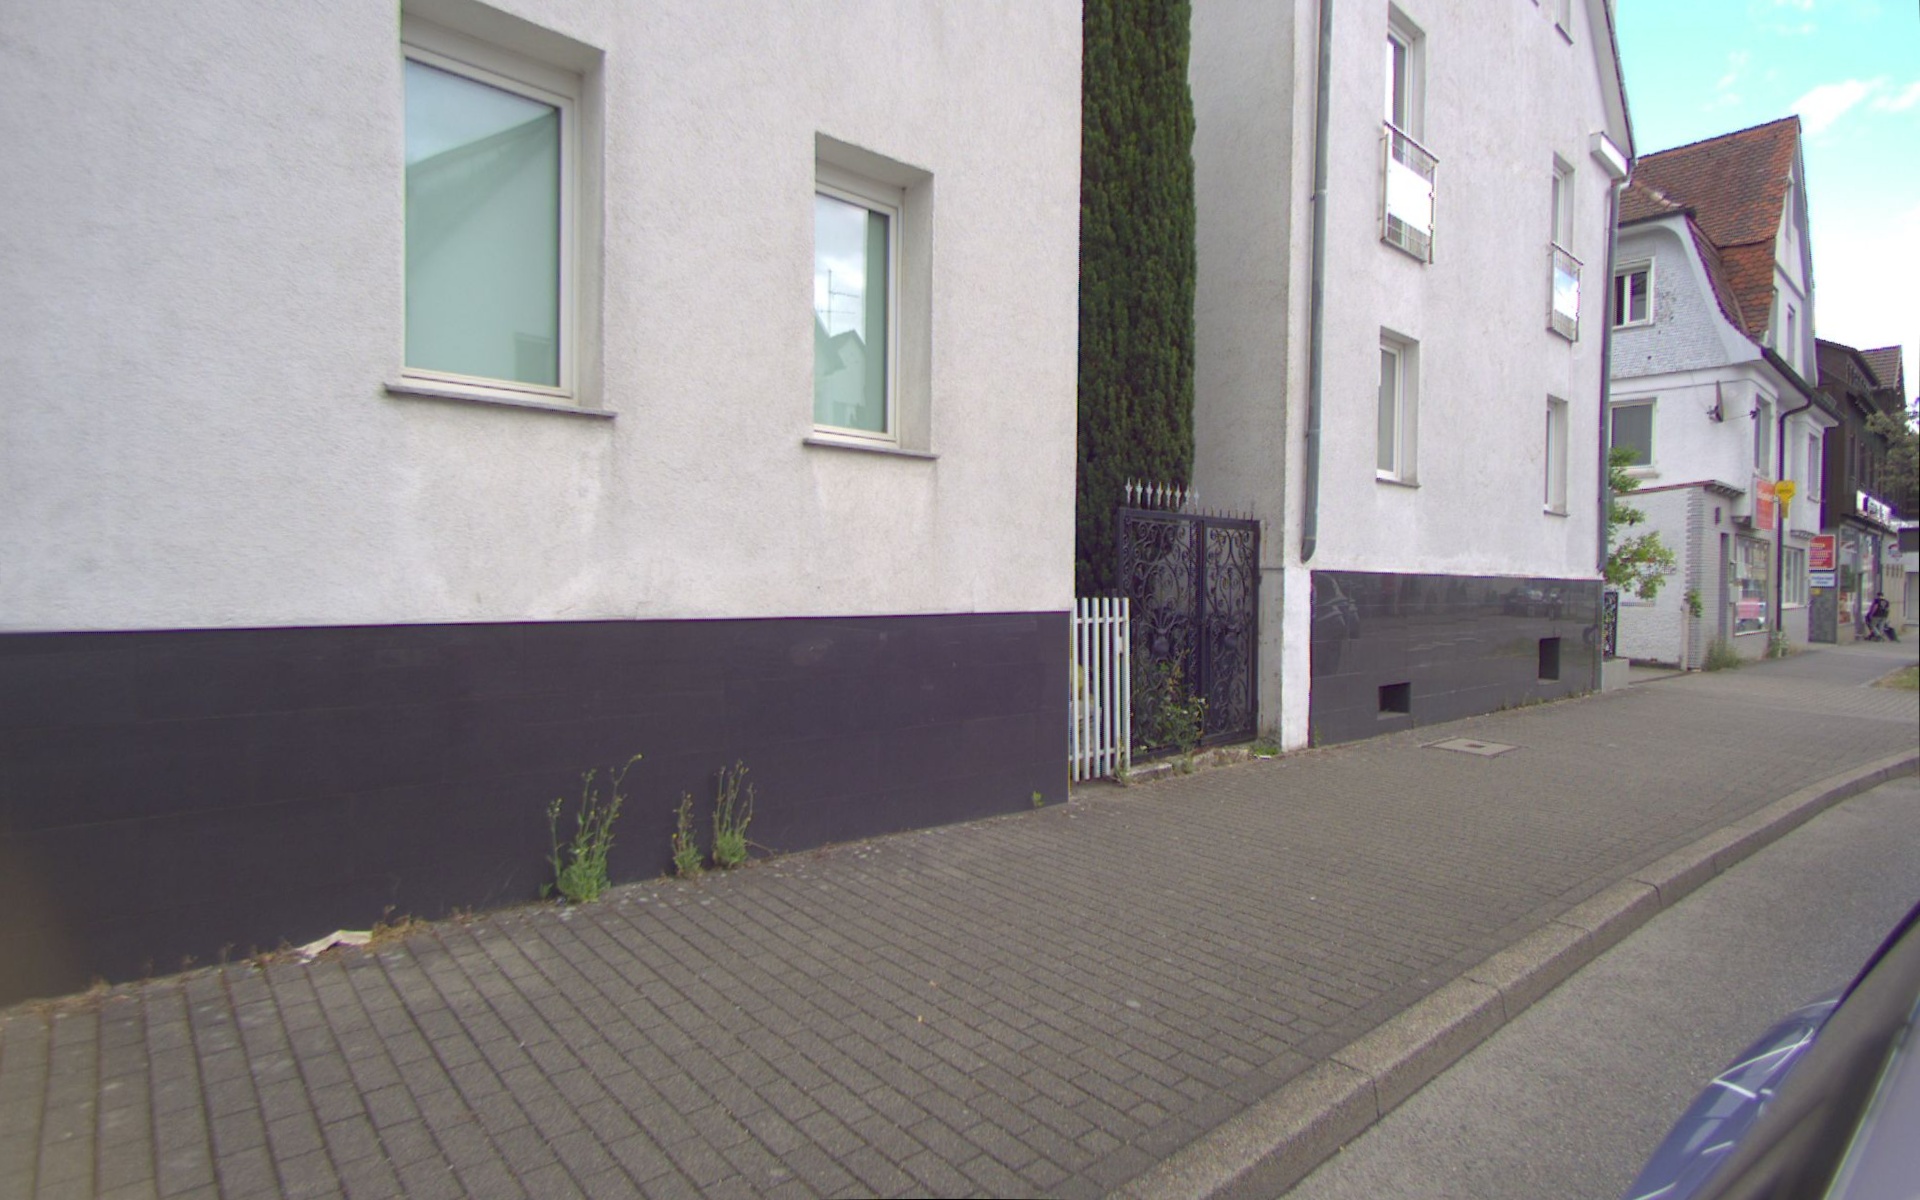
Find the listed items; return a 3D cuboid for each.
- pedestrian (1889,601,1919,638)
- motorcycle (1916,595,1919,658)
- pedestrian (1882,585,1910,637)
[{"bbox_3d":[32.738,0.656,35.068,0.633,1.226,0.741,0,2,-42],"label":"pedestrian"},{"bbox_3d":[21.689,0.606,21.615,0.763,1.399,2.236,0,0,11],"label":"motorcycle"},{"bbox_3d":[32.057,0.362,34.650,0.642,1.762,0.731,3,2,43],"label":"pedestrian"}]
